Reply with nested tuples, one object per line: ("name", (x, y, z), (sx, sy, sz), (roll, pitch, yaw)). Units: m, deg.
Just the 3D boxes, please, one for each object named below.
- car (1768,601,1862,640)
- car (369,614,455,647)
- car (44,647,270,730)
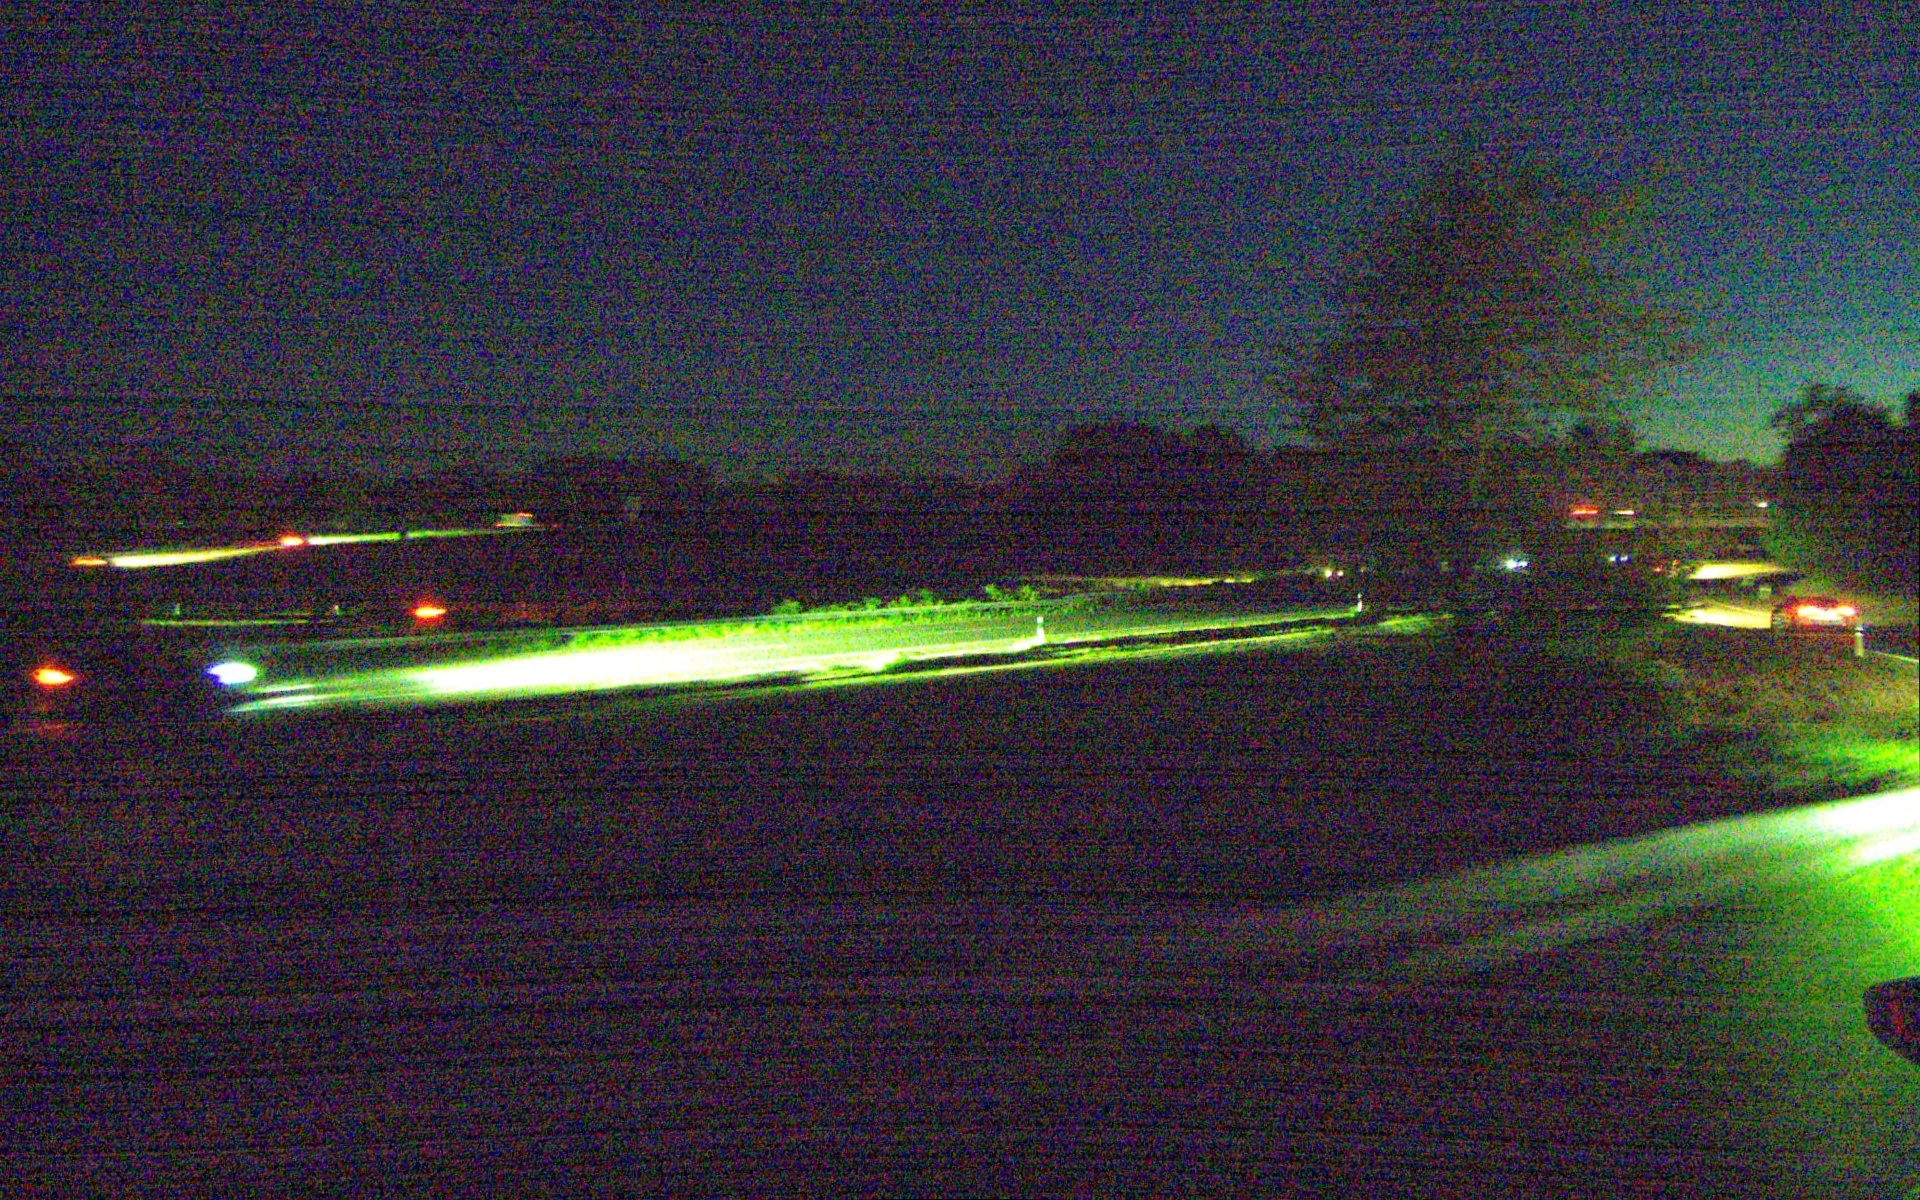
("car", (36.601, 0.853, 43.109), (1.920, 1.558, 4.238), (-1, 0, 24))
("car", (-30.940, 1.714, 56.767), (3.919, 1.808, 1.877), (-1, 1, 11))
("car", (-21.643, 2.318, 27.331), (4.600, 1.630, 1.925), (-2, 5, -38))
